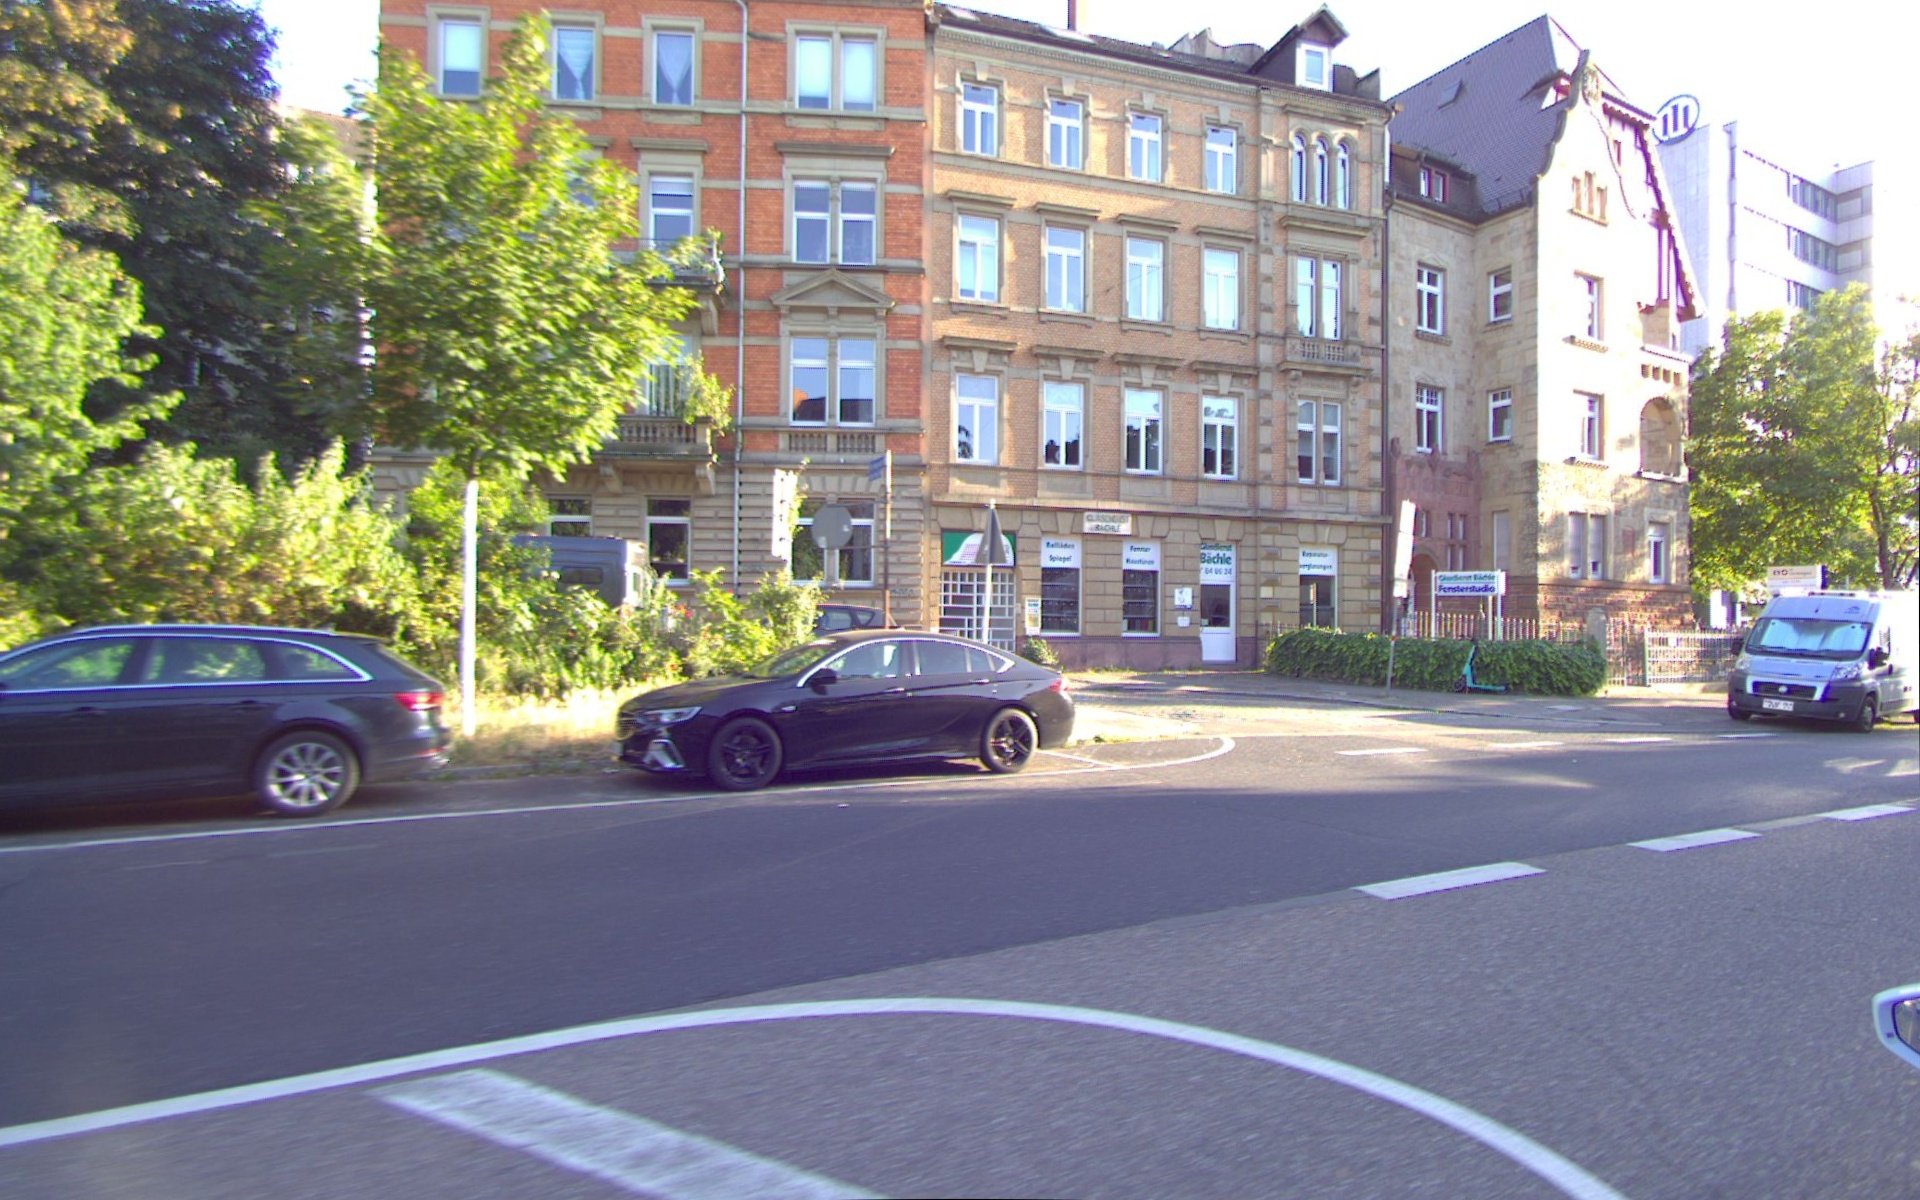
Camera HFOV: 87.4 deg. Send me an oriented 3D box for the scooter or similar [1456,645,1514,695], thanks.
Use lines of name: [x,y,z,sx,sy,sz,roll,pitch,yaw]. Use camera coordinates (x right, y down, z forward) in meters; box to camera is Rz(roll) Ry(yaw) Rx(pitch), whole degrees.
scooter or similar: [11.591,1.541,22.199,1.095,1.071,0.288,0,-2,13]

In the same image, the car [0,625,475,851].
car: [-6.291,0.942,7.643,4.570,1.464,1.728,2,-1,-30]

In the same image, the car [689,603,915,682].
car: [-3.240,0.901,21.175,4.476,1.557,1.999,1,-2,-6]

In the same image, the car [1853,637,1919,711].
car: [22.720,1.692,23.324,4.252,1.555,1.737,2,0,-31]

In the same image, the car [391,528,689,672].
car: [-8.469,0.051,20.719,5.208,2.775,2.126,0,-2,-4]

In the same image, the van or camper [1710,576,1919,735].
van or camper: [17.091,1.002,19.618,5.975,2.704,1.981,2,1,-34]

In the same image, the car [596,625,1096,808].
car: [-1.095,1.045,10.407,4.772,1.503,1.984,2,-1,-30]
